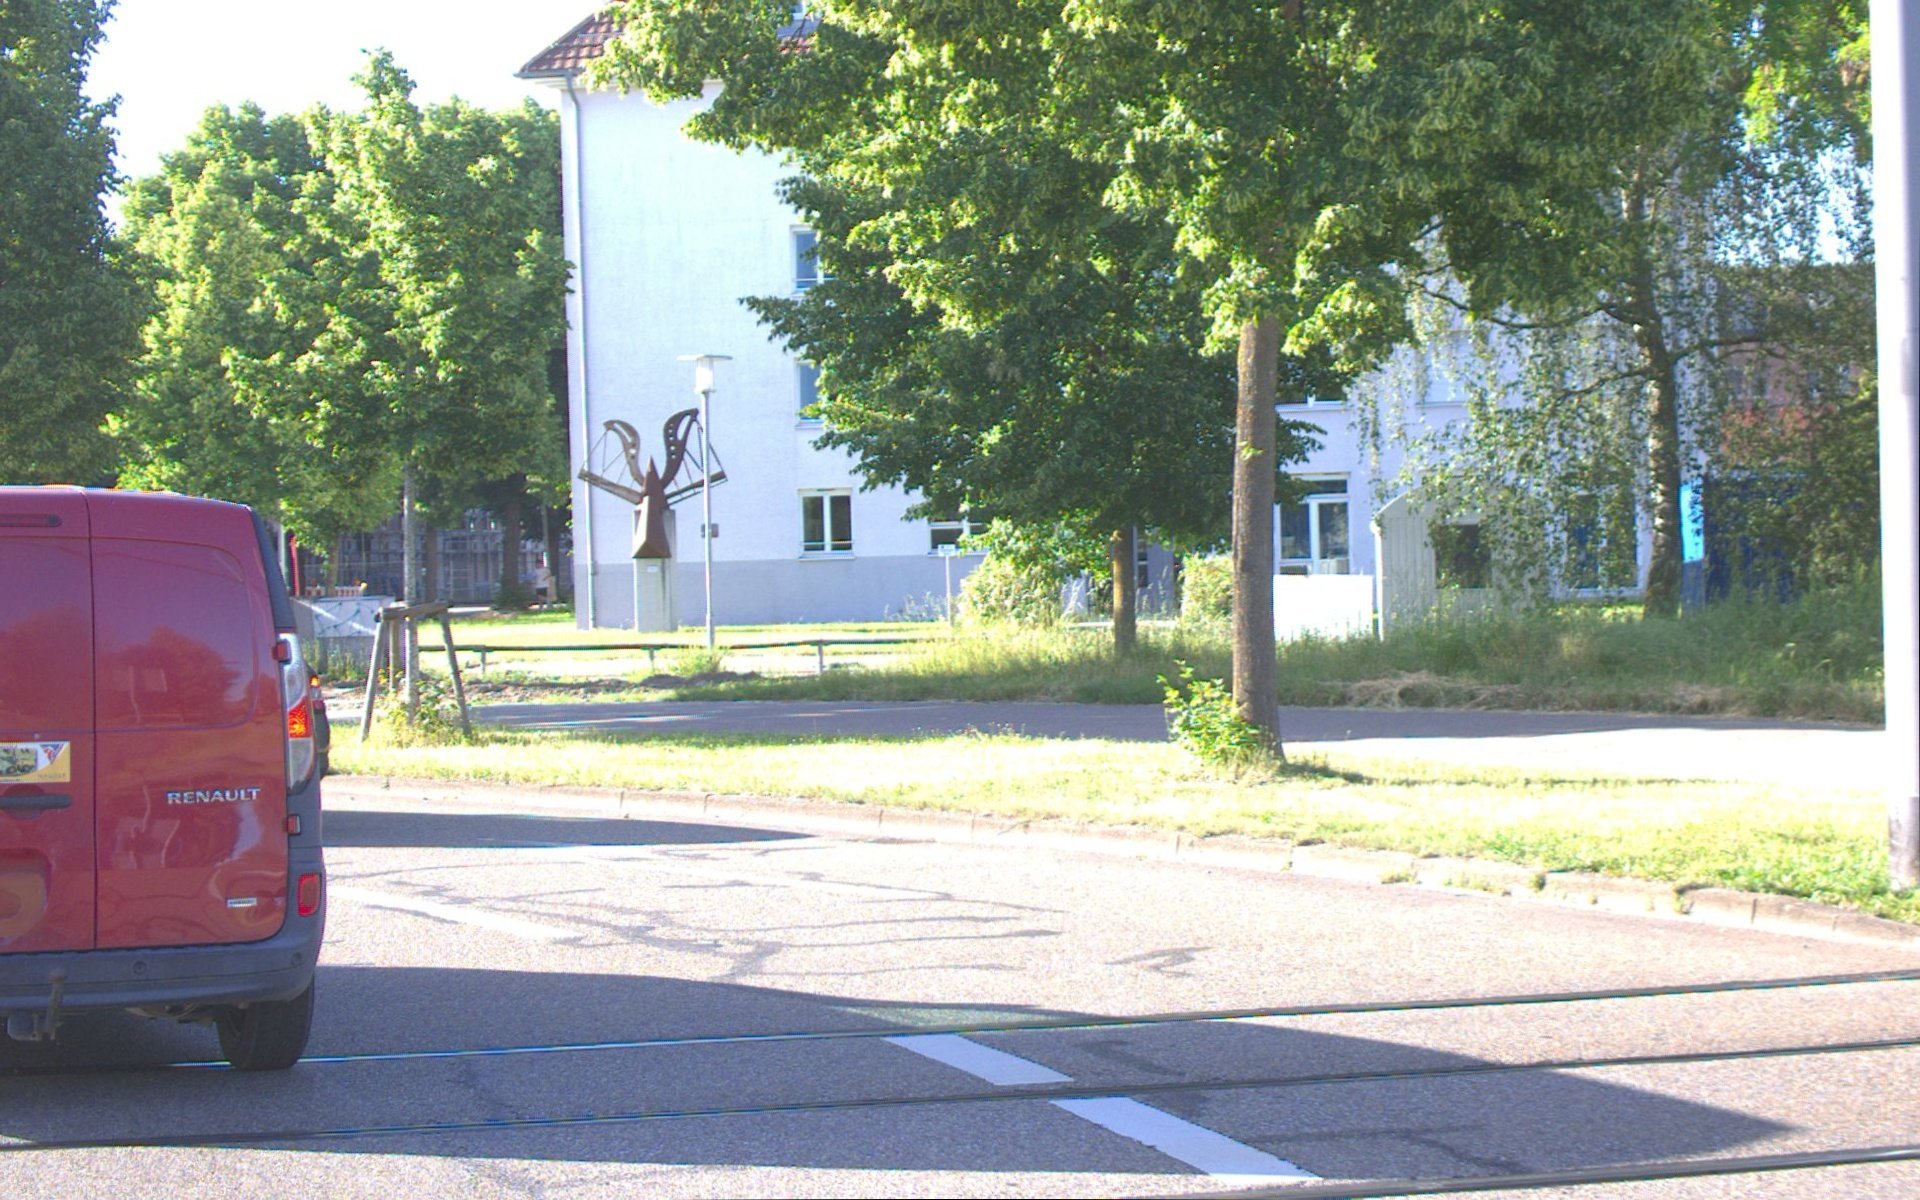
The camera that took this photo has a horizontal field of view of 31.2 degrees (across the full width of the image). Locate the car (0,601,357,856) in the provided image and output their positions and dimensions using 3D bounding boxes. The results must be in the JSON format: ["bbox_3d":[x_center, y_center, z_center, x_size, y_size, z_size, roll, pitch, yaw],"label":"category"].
[{"bbox_3d":[-5.368,0.762,21.796,1.714,1.431,4.152,-1,0,-30],"label":"car"}]

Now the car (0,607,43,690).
[{"bbox_3d":[-22.482,1.100,77.613,1.994,1.865,3.998,0,-1,9],"label":"car"}]

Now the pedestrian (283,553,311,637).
[{"bbox_3d":[-15.970,-0.127,82.793,0.470,2.007,0.454,-1,1,15],"label":"pedestrian"}]

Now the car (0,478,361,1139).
[{"bbox_3d":[-3.297,0.565,11.182,1.802,1.807,3.810,0,0,-24],"label":"car"}]
